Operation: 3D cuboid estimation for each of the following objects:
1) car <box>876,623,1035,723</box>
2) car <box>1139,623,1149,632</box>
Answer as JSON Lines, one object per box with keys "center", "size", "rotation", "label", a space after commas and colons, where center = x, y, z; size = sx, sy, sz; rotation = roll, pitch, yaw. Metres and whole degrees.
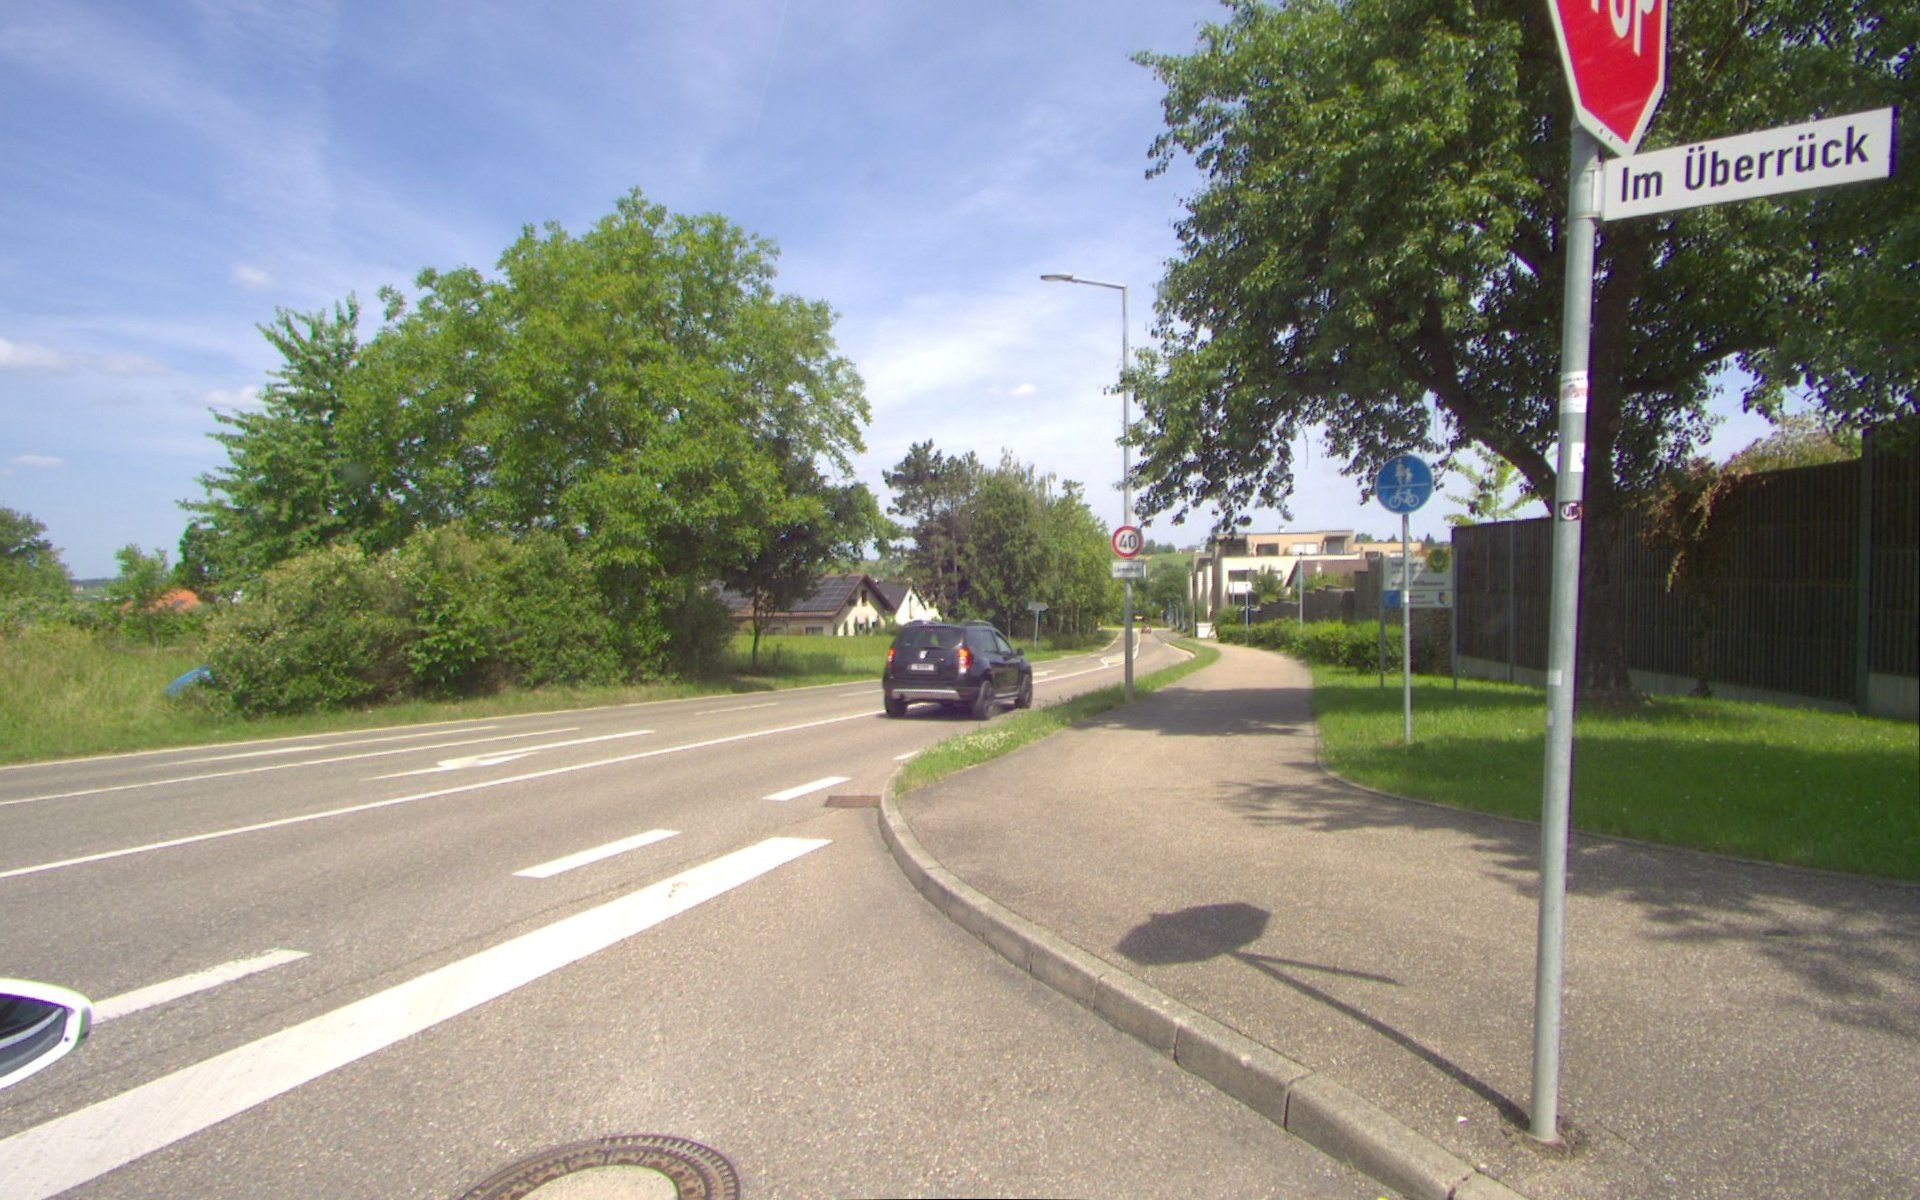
{"center": [0.052, 1.245, 18.210], "size": [1.797, 1.601, 3.996], "rotation": [0, -2, 17], "label": "car"}
{"center": [32.460, 4.894, 177.142], "size": [1.625, 1.623, 3.796], "rotation": [0, -2, 9], "label": "car"}
